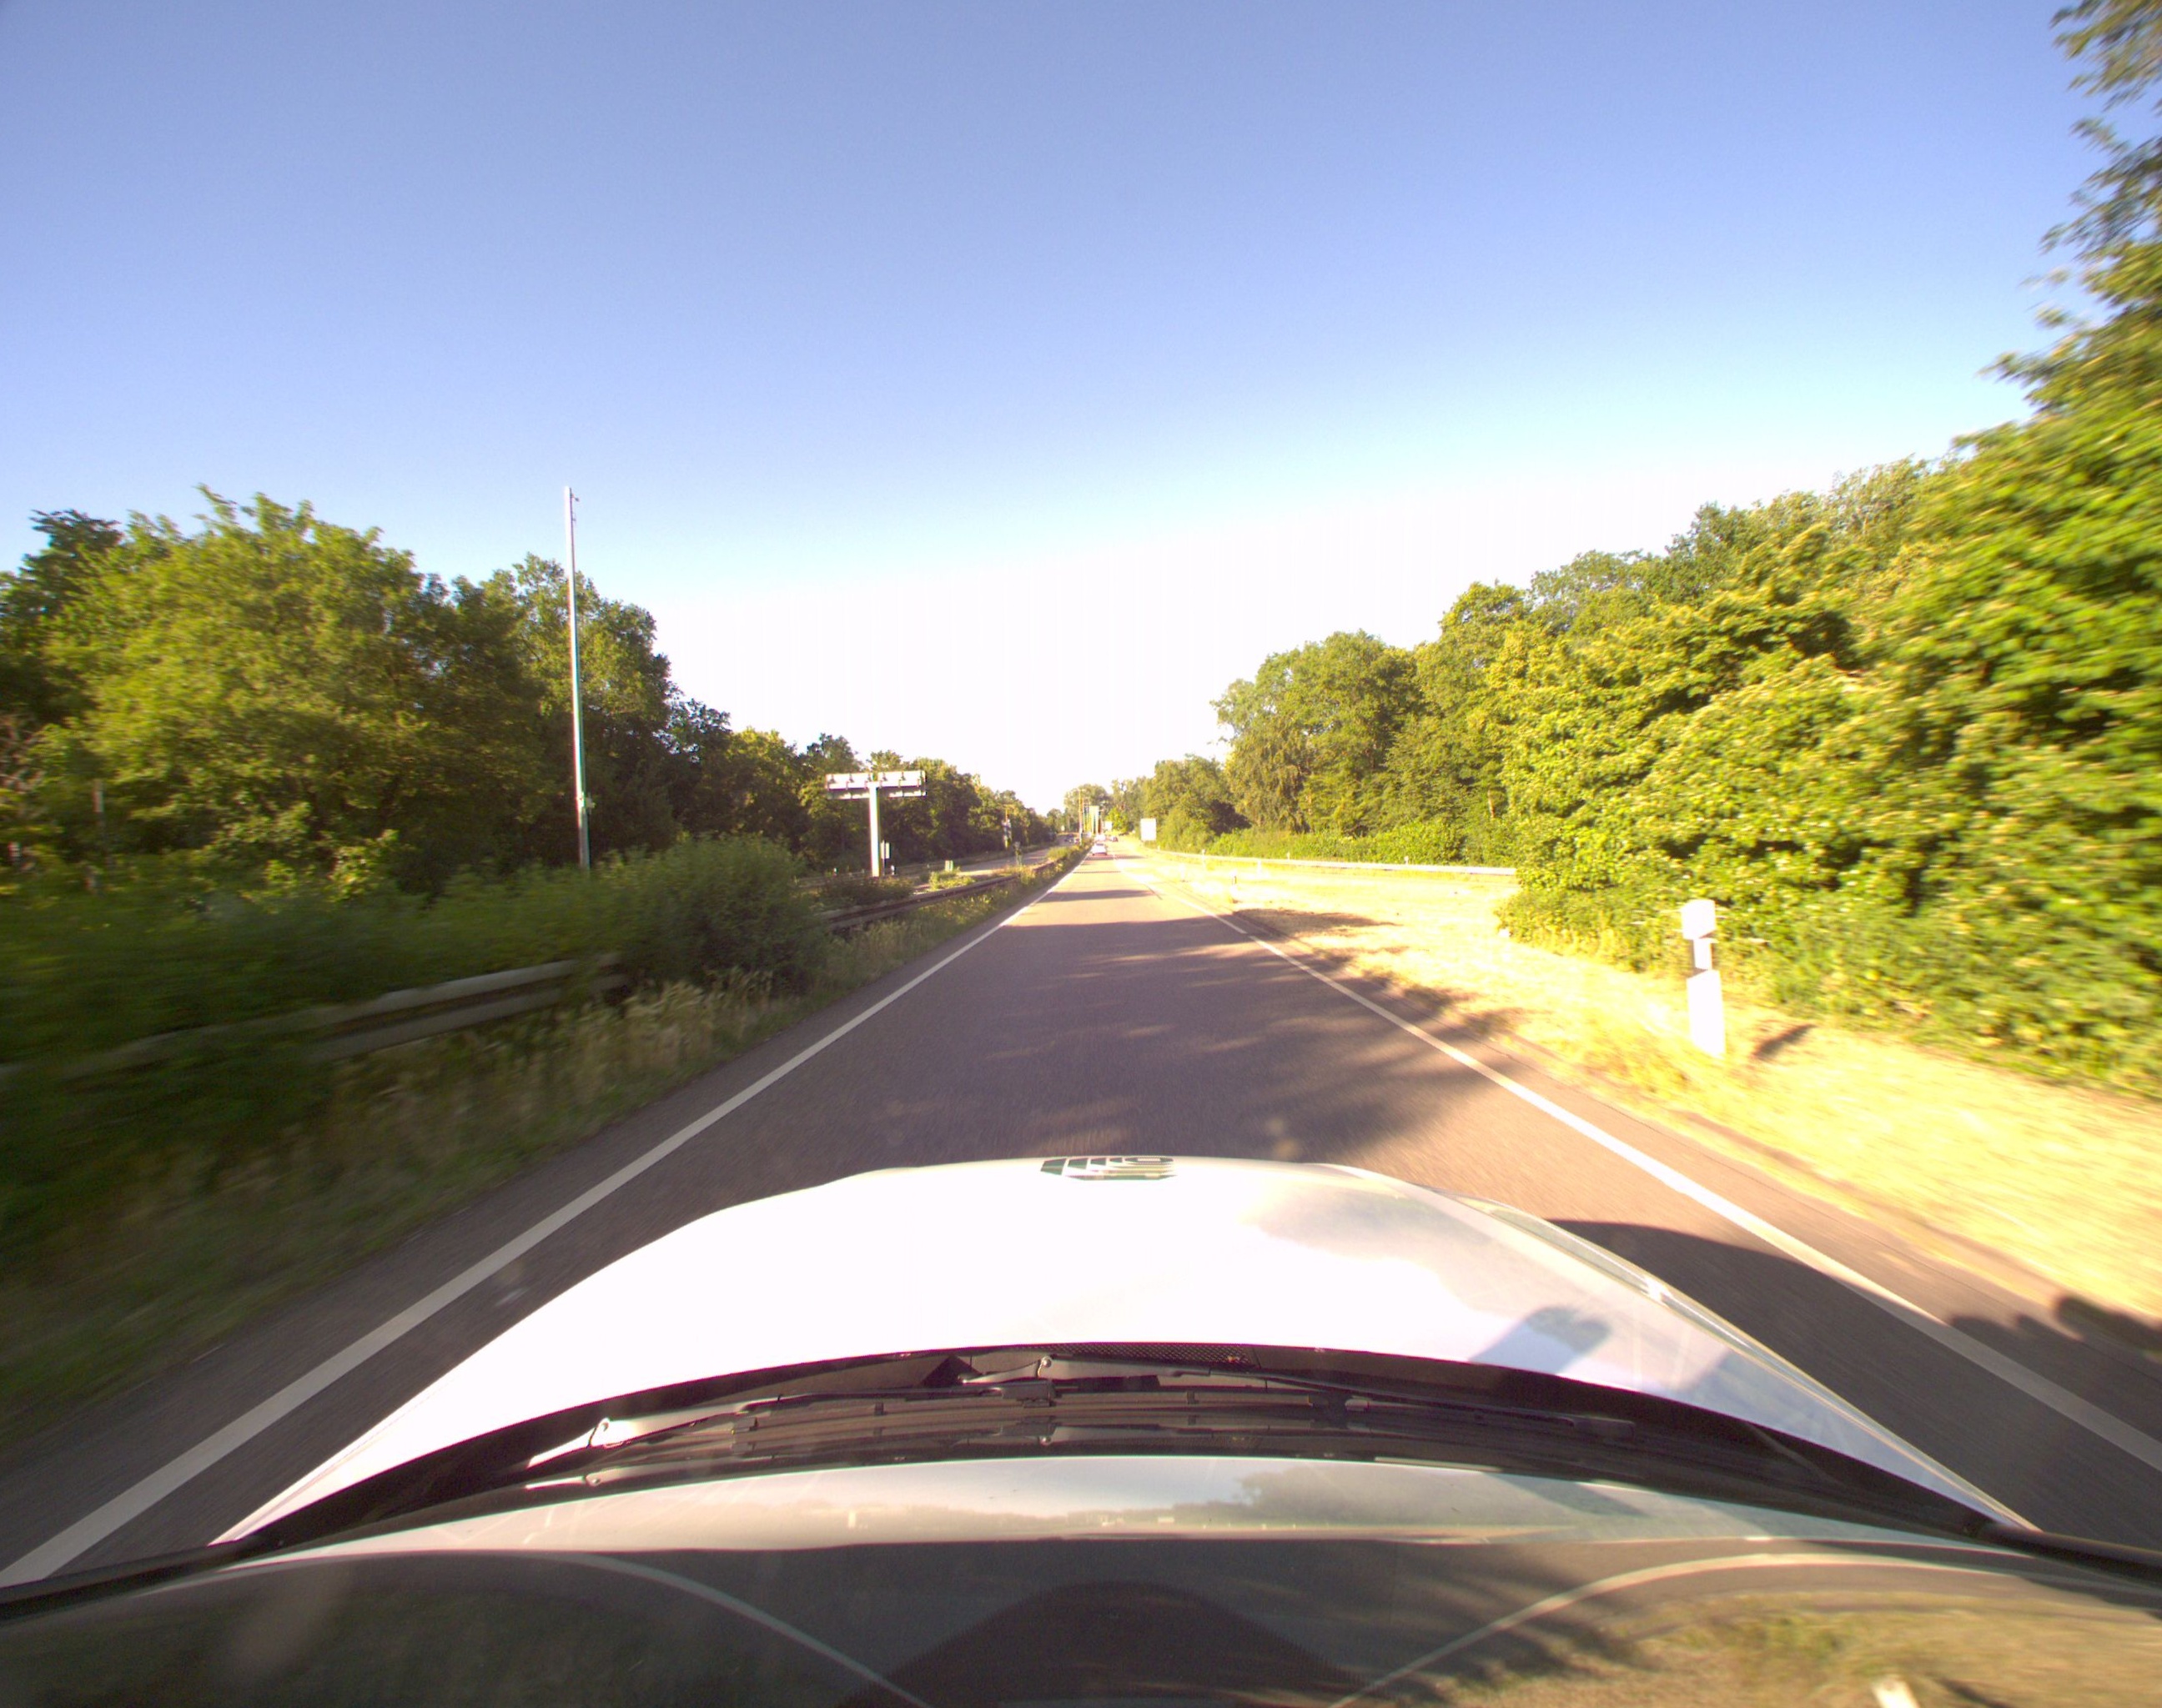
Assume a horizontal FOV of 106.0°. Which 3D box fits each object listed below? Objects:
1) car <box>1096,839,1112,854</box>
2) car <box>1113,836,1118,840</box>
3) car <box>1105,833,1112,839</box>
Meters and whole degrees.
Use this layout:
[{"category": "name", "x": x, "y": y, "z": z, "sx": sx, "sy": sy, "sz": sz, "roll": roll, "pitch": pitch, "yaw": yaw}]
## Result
[{"category": "car", "x": 2.933, "y": -0.977, "z": 104.561, "sx": 1.986, "sy": 1.639, "sz": 4.130, "roll": -3, "pitch": 2, "yaw": 1}, {"category": "car", "x": 10.089, "y": -4.659, "z": 236.726, "sx": 1.383, "sy": 1.280, "sz": 2.988, "roll": 1, "pitch": 0, "yaw": 1}, {"category": "car", "x": 8.625, "y": -5.586, "z": 254.615, "sx": 1.986, "sy": 1.879, "sz": 4.251, "roll": -3, "pitch": 2, "yaw": 2}]
